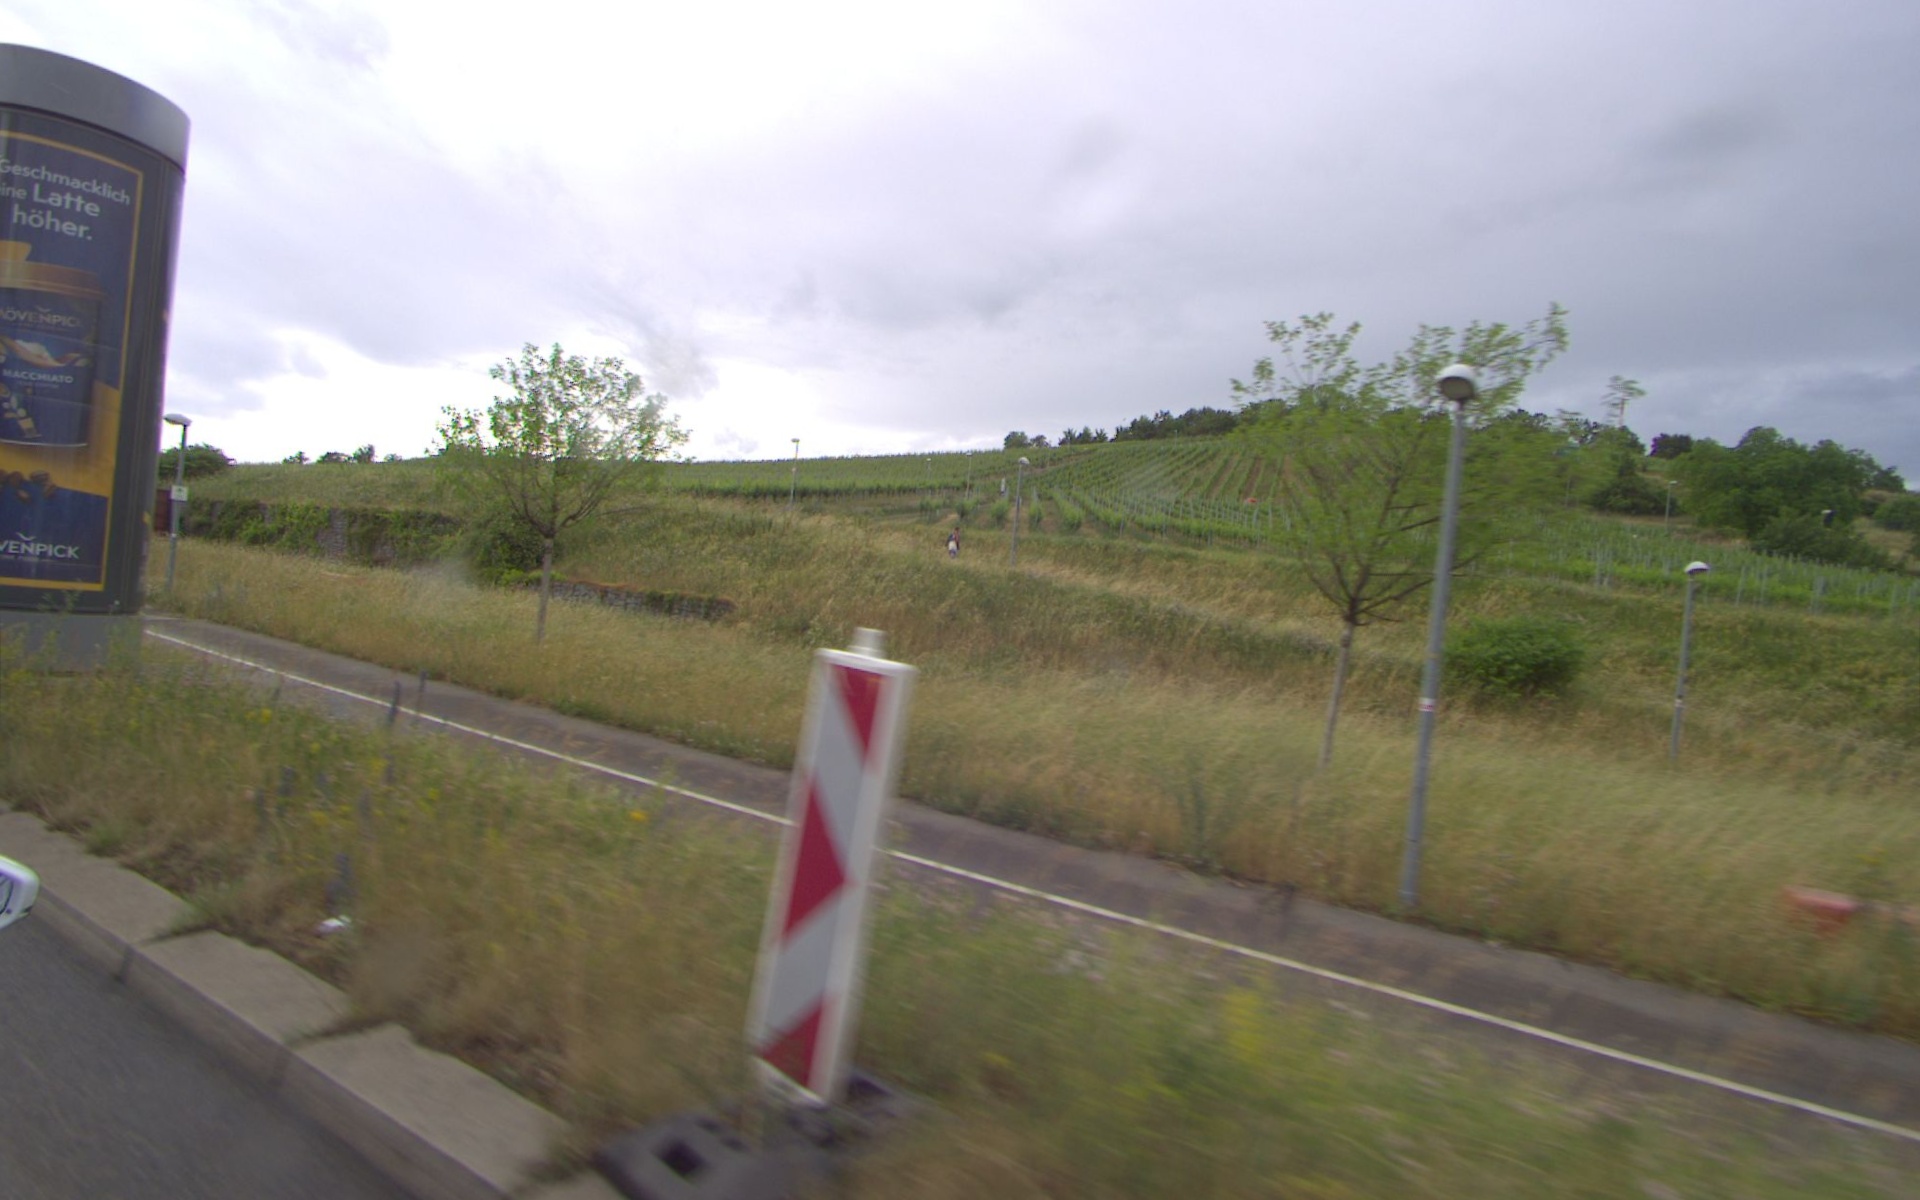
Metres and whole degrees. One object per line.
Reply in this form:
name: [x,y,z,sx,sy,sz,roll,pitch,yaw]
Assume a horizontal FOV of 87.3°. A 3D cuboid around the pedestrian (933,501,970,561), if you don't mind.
pedestrian: [-0.318,-2.504,36.601,1.036,2.040,0.779,7,3,-5]
